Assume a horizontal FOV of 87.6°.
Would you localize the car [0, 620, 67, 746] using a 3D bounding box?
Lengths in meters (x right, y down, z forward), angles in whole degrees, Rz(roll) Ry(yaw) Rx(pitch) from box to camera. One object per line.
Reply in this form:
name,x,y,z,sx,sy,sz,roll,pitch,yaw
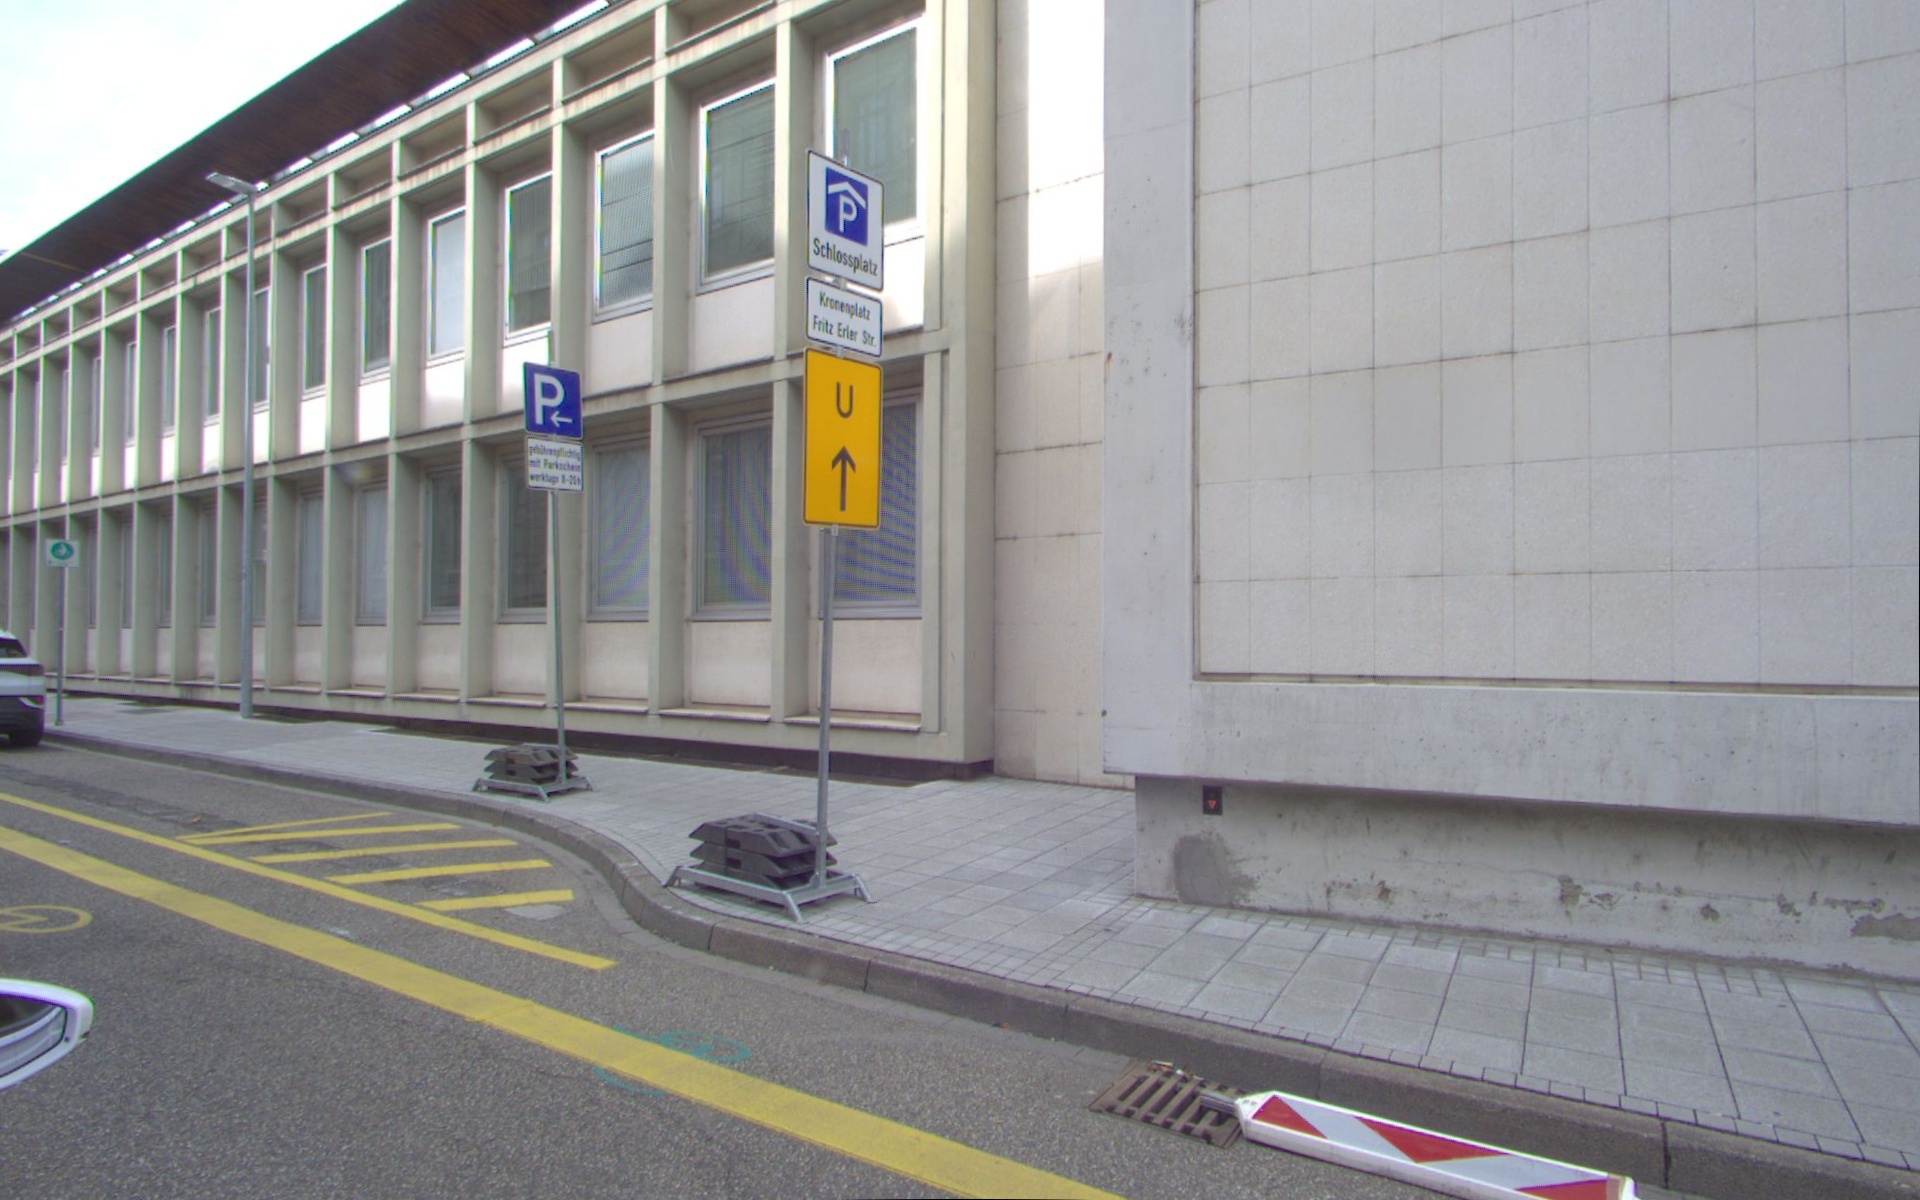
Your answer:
car,-14.376,1.096,13.953,4.452,1.624,1.857,-1,-5,35
